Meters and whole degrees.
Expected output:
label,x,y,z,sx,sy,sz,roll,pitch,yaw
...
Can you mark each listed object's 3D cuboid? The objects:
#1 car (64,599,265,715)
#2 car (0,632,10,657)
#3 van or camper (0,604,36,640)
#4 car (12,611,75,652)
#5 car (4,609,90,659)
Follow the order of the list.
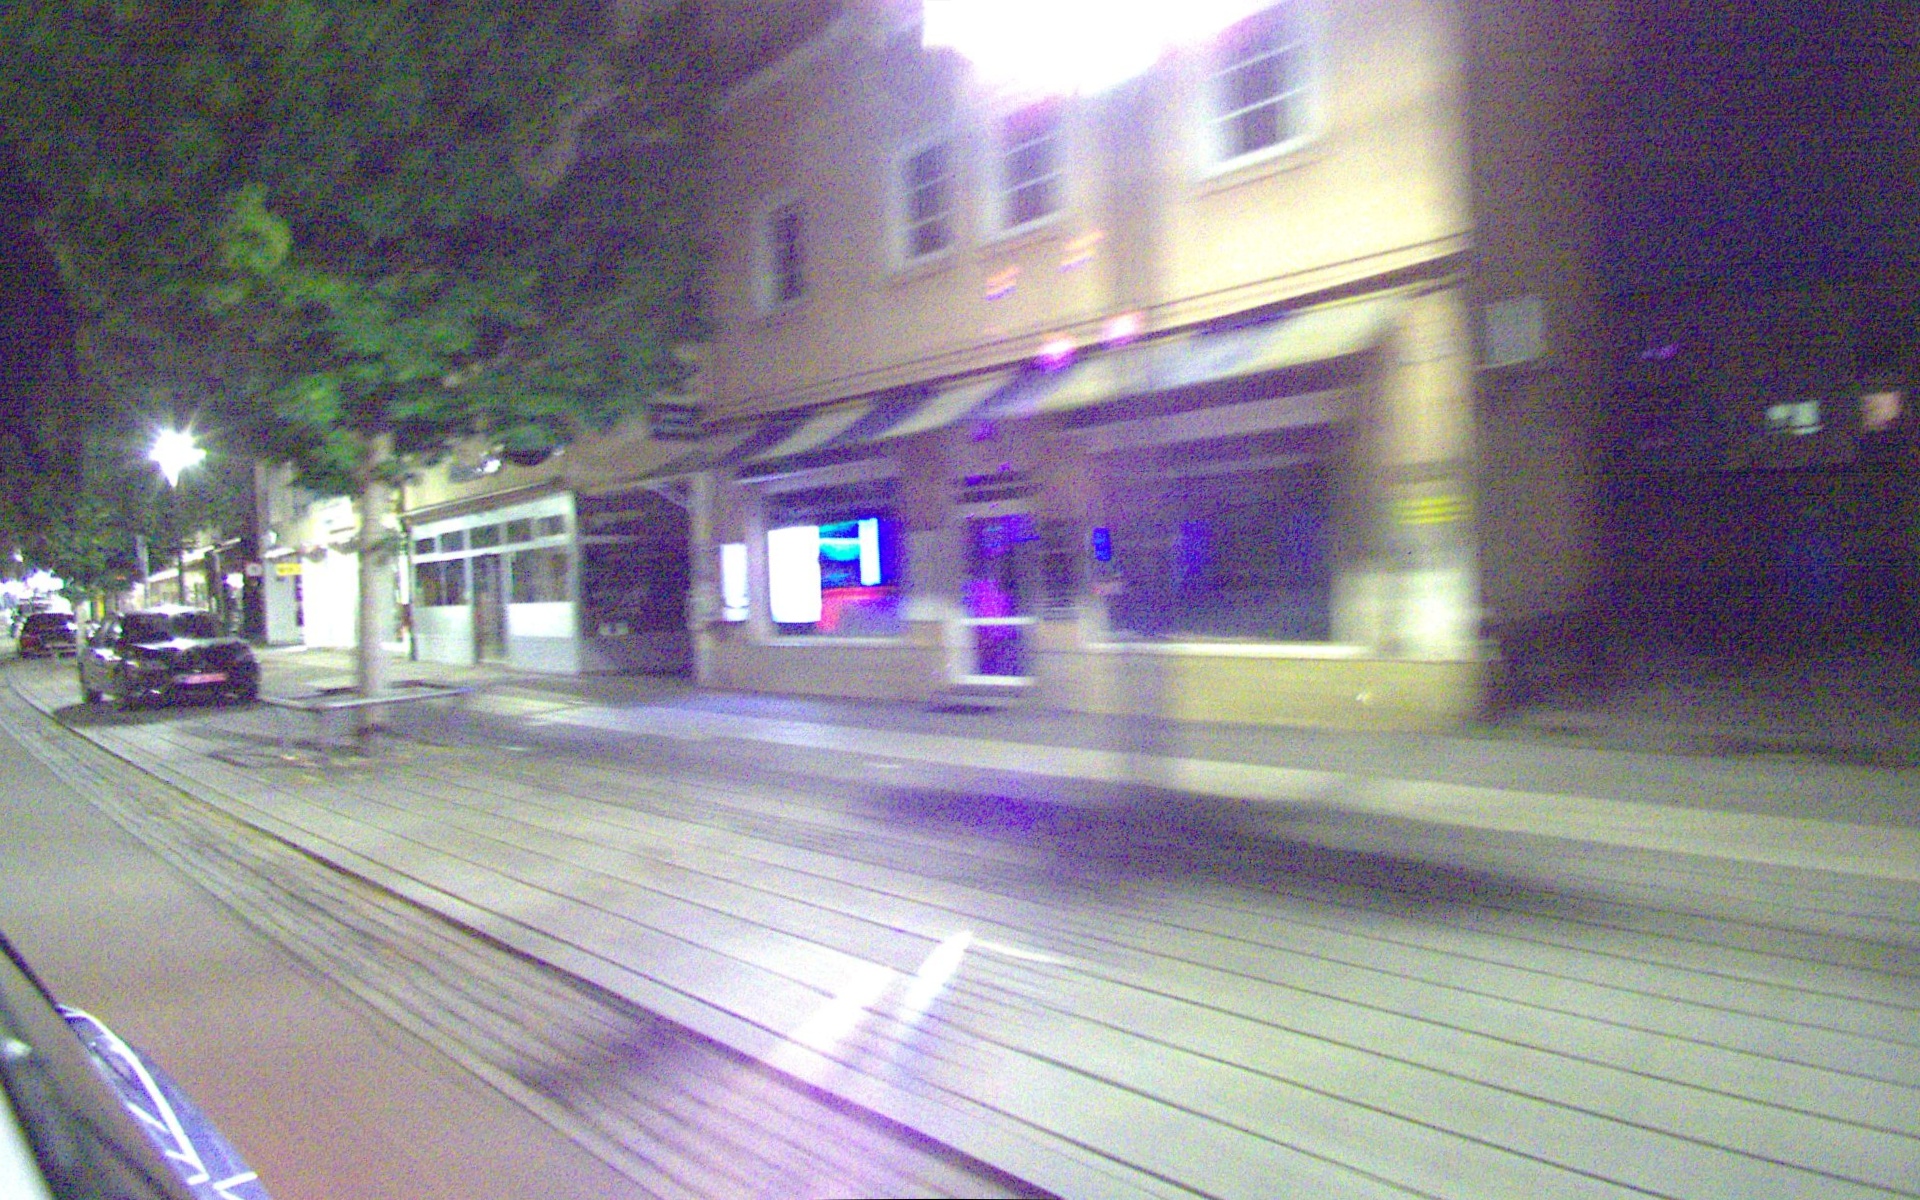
label,x,y,z,sx,sy,sz,roll,pitch,yaw
car,-12.837,0.834,16.235,4.227,1.555,1.657,-1,2,40
car,-60.126,2.776,62.770,1.697,1.423,4.390,-4,2,-43
van or camper,-55.315,1.254,58.889,1.822,1.956,5.164,-3,2,-38
car,-37.999,1.276,41.937,1.709,1.488,3.849,-4,2,-45
car,-32.528,1.153,35.997,1.997,1.498,5.011,-6,4,-44
